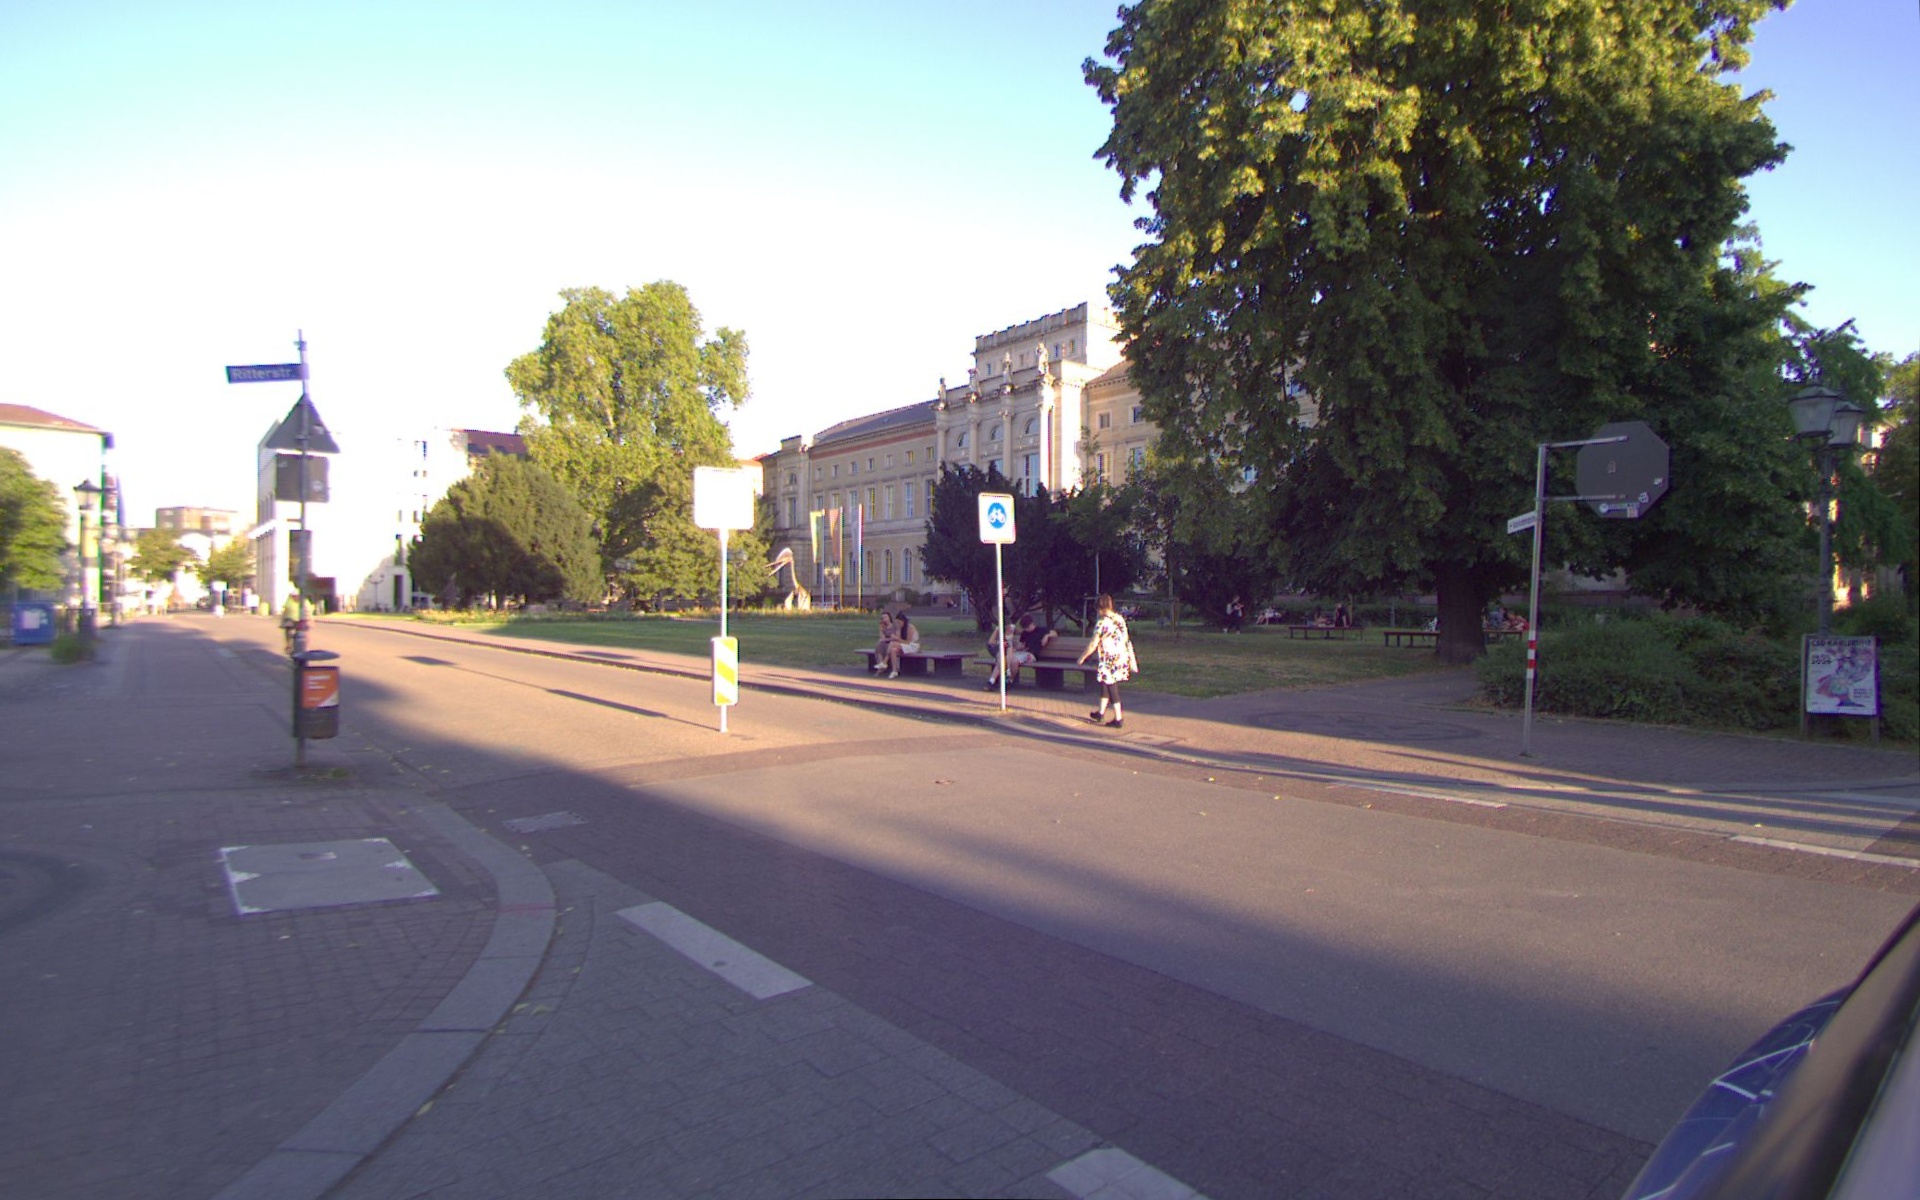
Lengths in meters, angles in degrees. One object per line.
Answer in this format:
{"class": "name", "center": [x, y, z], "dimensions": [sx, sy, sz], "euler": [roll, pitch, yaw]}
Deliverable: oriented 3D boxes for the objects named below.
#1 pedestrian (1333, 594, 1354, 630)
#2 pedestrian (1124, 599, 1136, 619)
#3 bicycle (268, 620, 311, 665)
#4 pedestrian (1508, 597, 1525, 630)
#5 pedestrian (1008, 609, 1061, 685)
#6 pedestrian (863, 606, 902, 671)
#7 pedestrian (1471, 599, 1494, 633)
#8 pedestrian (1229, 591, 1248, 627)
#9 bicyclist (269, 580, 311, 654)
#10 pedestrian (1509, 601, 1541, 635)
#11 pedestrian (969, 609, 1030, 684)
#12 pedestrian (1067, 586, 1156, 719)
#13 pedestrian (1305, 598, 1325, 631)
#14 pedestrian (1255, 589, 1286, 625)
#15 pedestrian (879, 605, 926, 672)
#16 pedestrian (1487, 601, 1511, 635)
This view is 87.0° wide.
{"class": "pedestrian", "center": [13.109, 0.406, 34.615], "dimensions": [0.594, 1.217, 0.394], "euler": [0, 0, 11]}
{"class": "pedestrian", "center": [11.068, 0.572, 65.811], "dimensions": [0.582, 1.304, 0.499], "euler": [1, -1, -44]}
{"class": "bicycle", "center": [-14.367, 0.898, 21.657], "dimensions": [0.537, 0.878, 1.711], "euler": [1, 0, -41]}
{"class": "pedestrian", "center": [17.969, 0.427, 32.706], "dimensions": [0.390, 1.064, 0.600], "euler": [0, 0, 20]}
{"class": "pedestrian", "center": [1.233, 0.765, 16.752], "dimensions": [0.656, 1.219, 0.606], "euler": [1, -1, -44]}
{"class": "pedestrian", "center": [-1.515, 0.740, 19.782], "dimensions": [0.582, 1.229, 0.499], "euler": [1, -1, -44]}
{"class": "pedestrian", "center": [16.798, 0.511, 32.536], "dimensions": [0.596, 1.064, 0.393], "euler": [0, 0, 19]}
{"class": "pedestrian", "center": [11.494, 0.368, 41.772], "dimensions": [0.743, 1.462, 0.814], "euler": [0, 0, 17]}
{"class": "bicyclist", "center": [-14.332, 0.354, 21.642], "dimensions": [0.640, 1.547, 0.722], "euler": [1, 0, -42]}
{"class": "pedestrian", "center": [17.859, 0.558, 32.003], "dimensions": [0.785, 1.064, 0.393], "euler": [0, 0, 16]}
{"class": "pedestrian", "center": [0.678, 0.761, 17.111], "dimensions": [0.954, 1.219, 0.527], "euler": [1, -1, -45]}
{"class": "pedestrian", "center": [1.950, 0.645, 13.079], "dimensions": [0.743, 1.646, 0.859], "euler": [1, 0, -35]}
{"class": "pedestrian", "center": [12.253, 0.492, 34.941], "dimensions": [0.593, 1.123, 0.395], "euler": [0, 0, 7]}
{"class": "pedestrian", "center": [17.753, 0.404, 57.857], "dimensions": [0.965, 2.039, 1.394], "euler": [2, -2, -41]}
{"class": "pedestrian", "center": [-1.094, 0.722, 19.336], "dimensions": [0.656, 1.229, 0.606], "euler": [1, -1, -44]}
{"class": "pedestrian", "center": [16.904, 0.554, 31.753], "dimensions": [0.595, 1.064, 0.393], "euler": [0, 0, 15]}
